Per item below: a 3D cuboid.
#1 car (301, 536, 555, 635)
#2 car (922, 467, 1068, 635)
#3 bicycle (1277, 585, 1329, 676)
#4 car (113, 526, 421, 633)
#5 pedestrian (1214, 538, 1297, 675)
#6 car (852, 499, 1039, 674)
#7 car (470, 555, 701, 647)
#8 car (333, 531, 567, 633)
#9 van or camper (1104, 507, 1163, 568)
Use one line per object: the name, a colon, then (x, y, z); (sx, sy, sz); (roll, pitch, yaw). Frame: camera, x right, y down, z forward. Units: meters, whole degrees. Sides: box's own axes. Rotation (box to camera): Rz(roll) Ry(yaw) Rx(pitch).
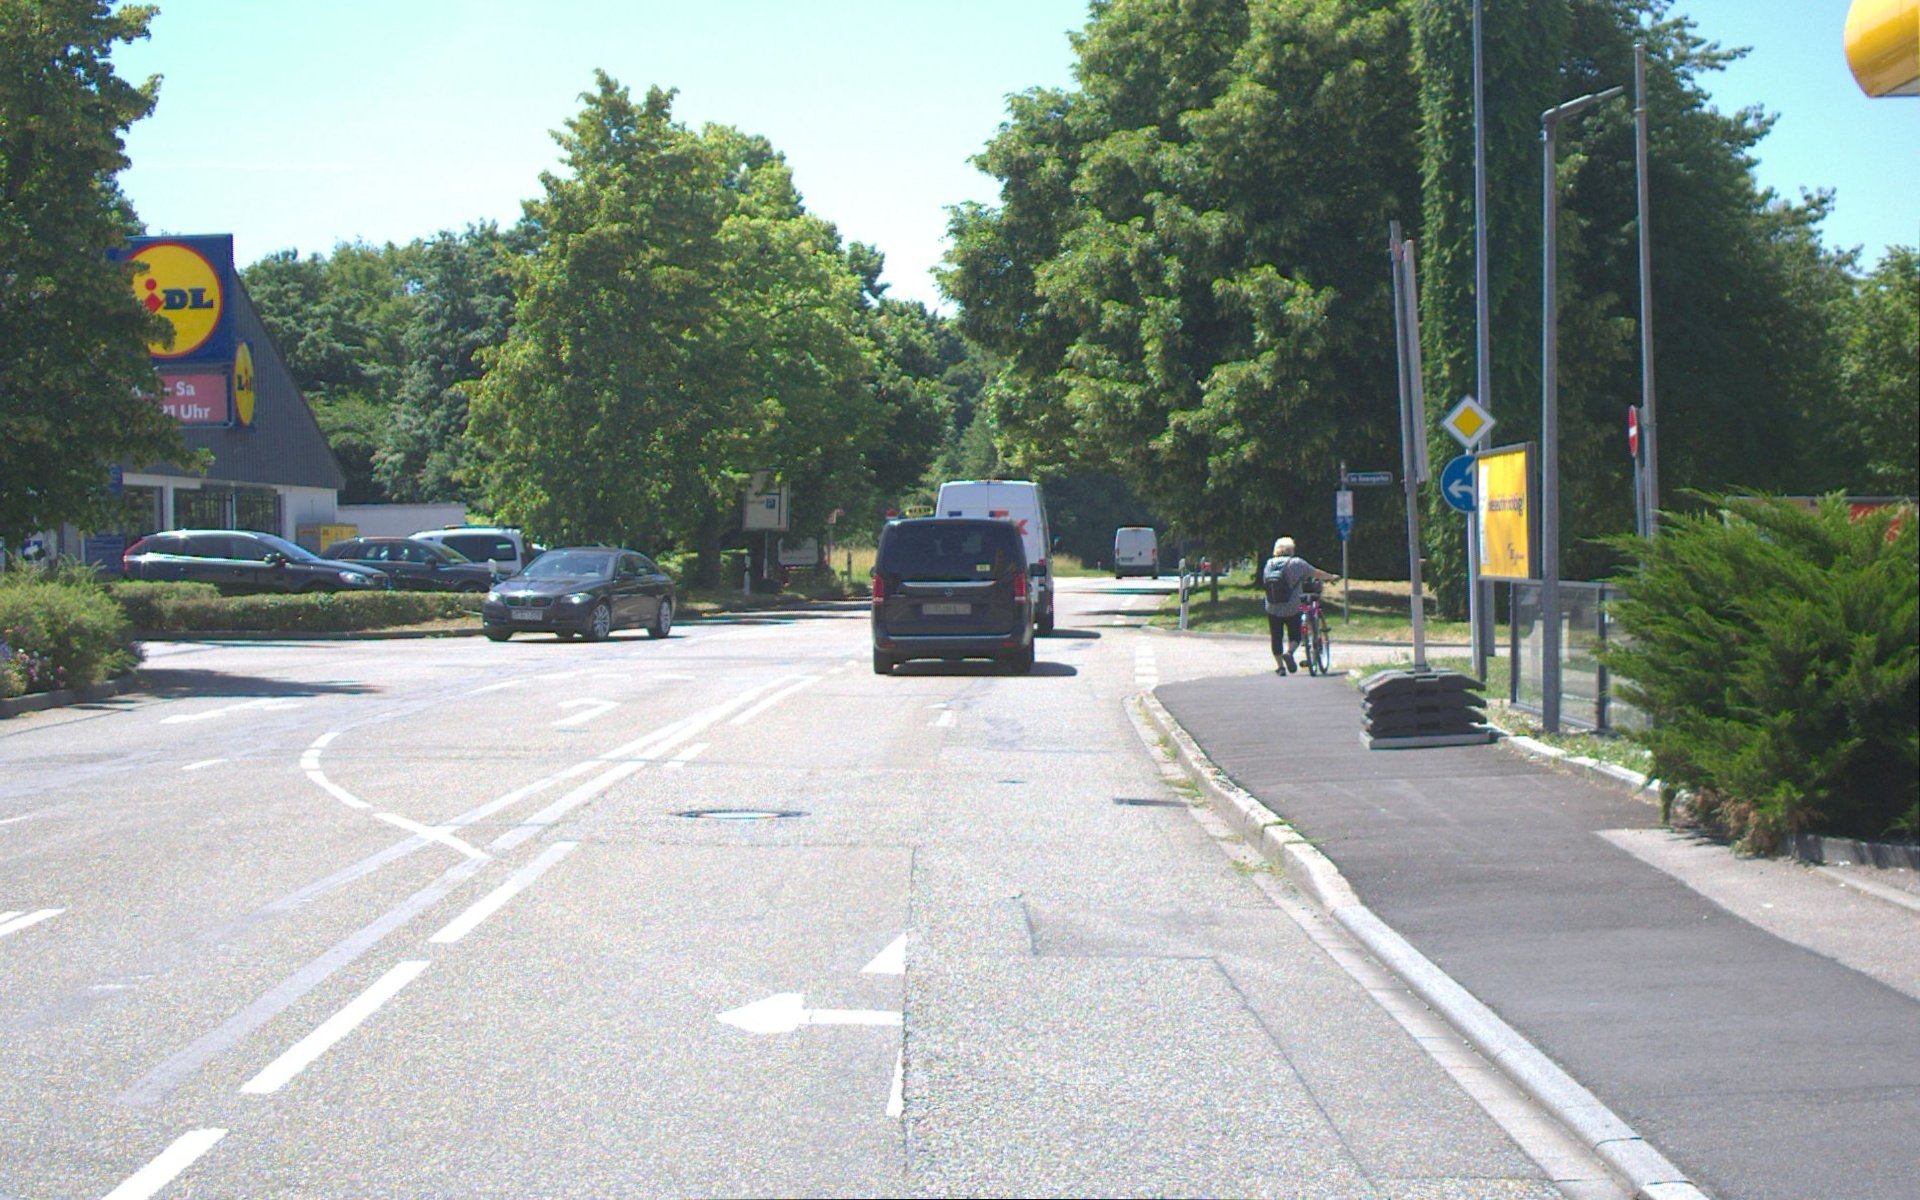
car: (-10.195, -0.276, 66.057); (4.387, 1.839, 2.103); (1, 0, 9)
car: (0.644, -0.814, 58.377); (2.078, 2.693, 4.665); (2, 0, 5)
bicycle: (3.553, 0.301, 35.586); (0.378, 0.909, 1.597); (0, 1, 11)
car: (-11.782, -0.342, 58.600); (4.709, 1.756, 2.098); (1, 0, 7)
pedestrian: (3.096, 0.058, 35.960); (0.769, 1.416, 0.867); (0, 1, 12)
car: (-0.108, -0.174, 41.928); (1.994, 1.946, 5.004); (2, 0, 2)
car: (-5.901, 0.015, 54.793); (1.934, 1.396, 4.685); (1, 0, 17)
car: (-10.175, -0.350, 68.775); (4.356, 1.973, 1.905); (1, 0, 1)
van or camper: (8.720, -3.128, 173.141); (2.631, 2.919, 5.207); (1, 0, -1)
